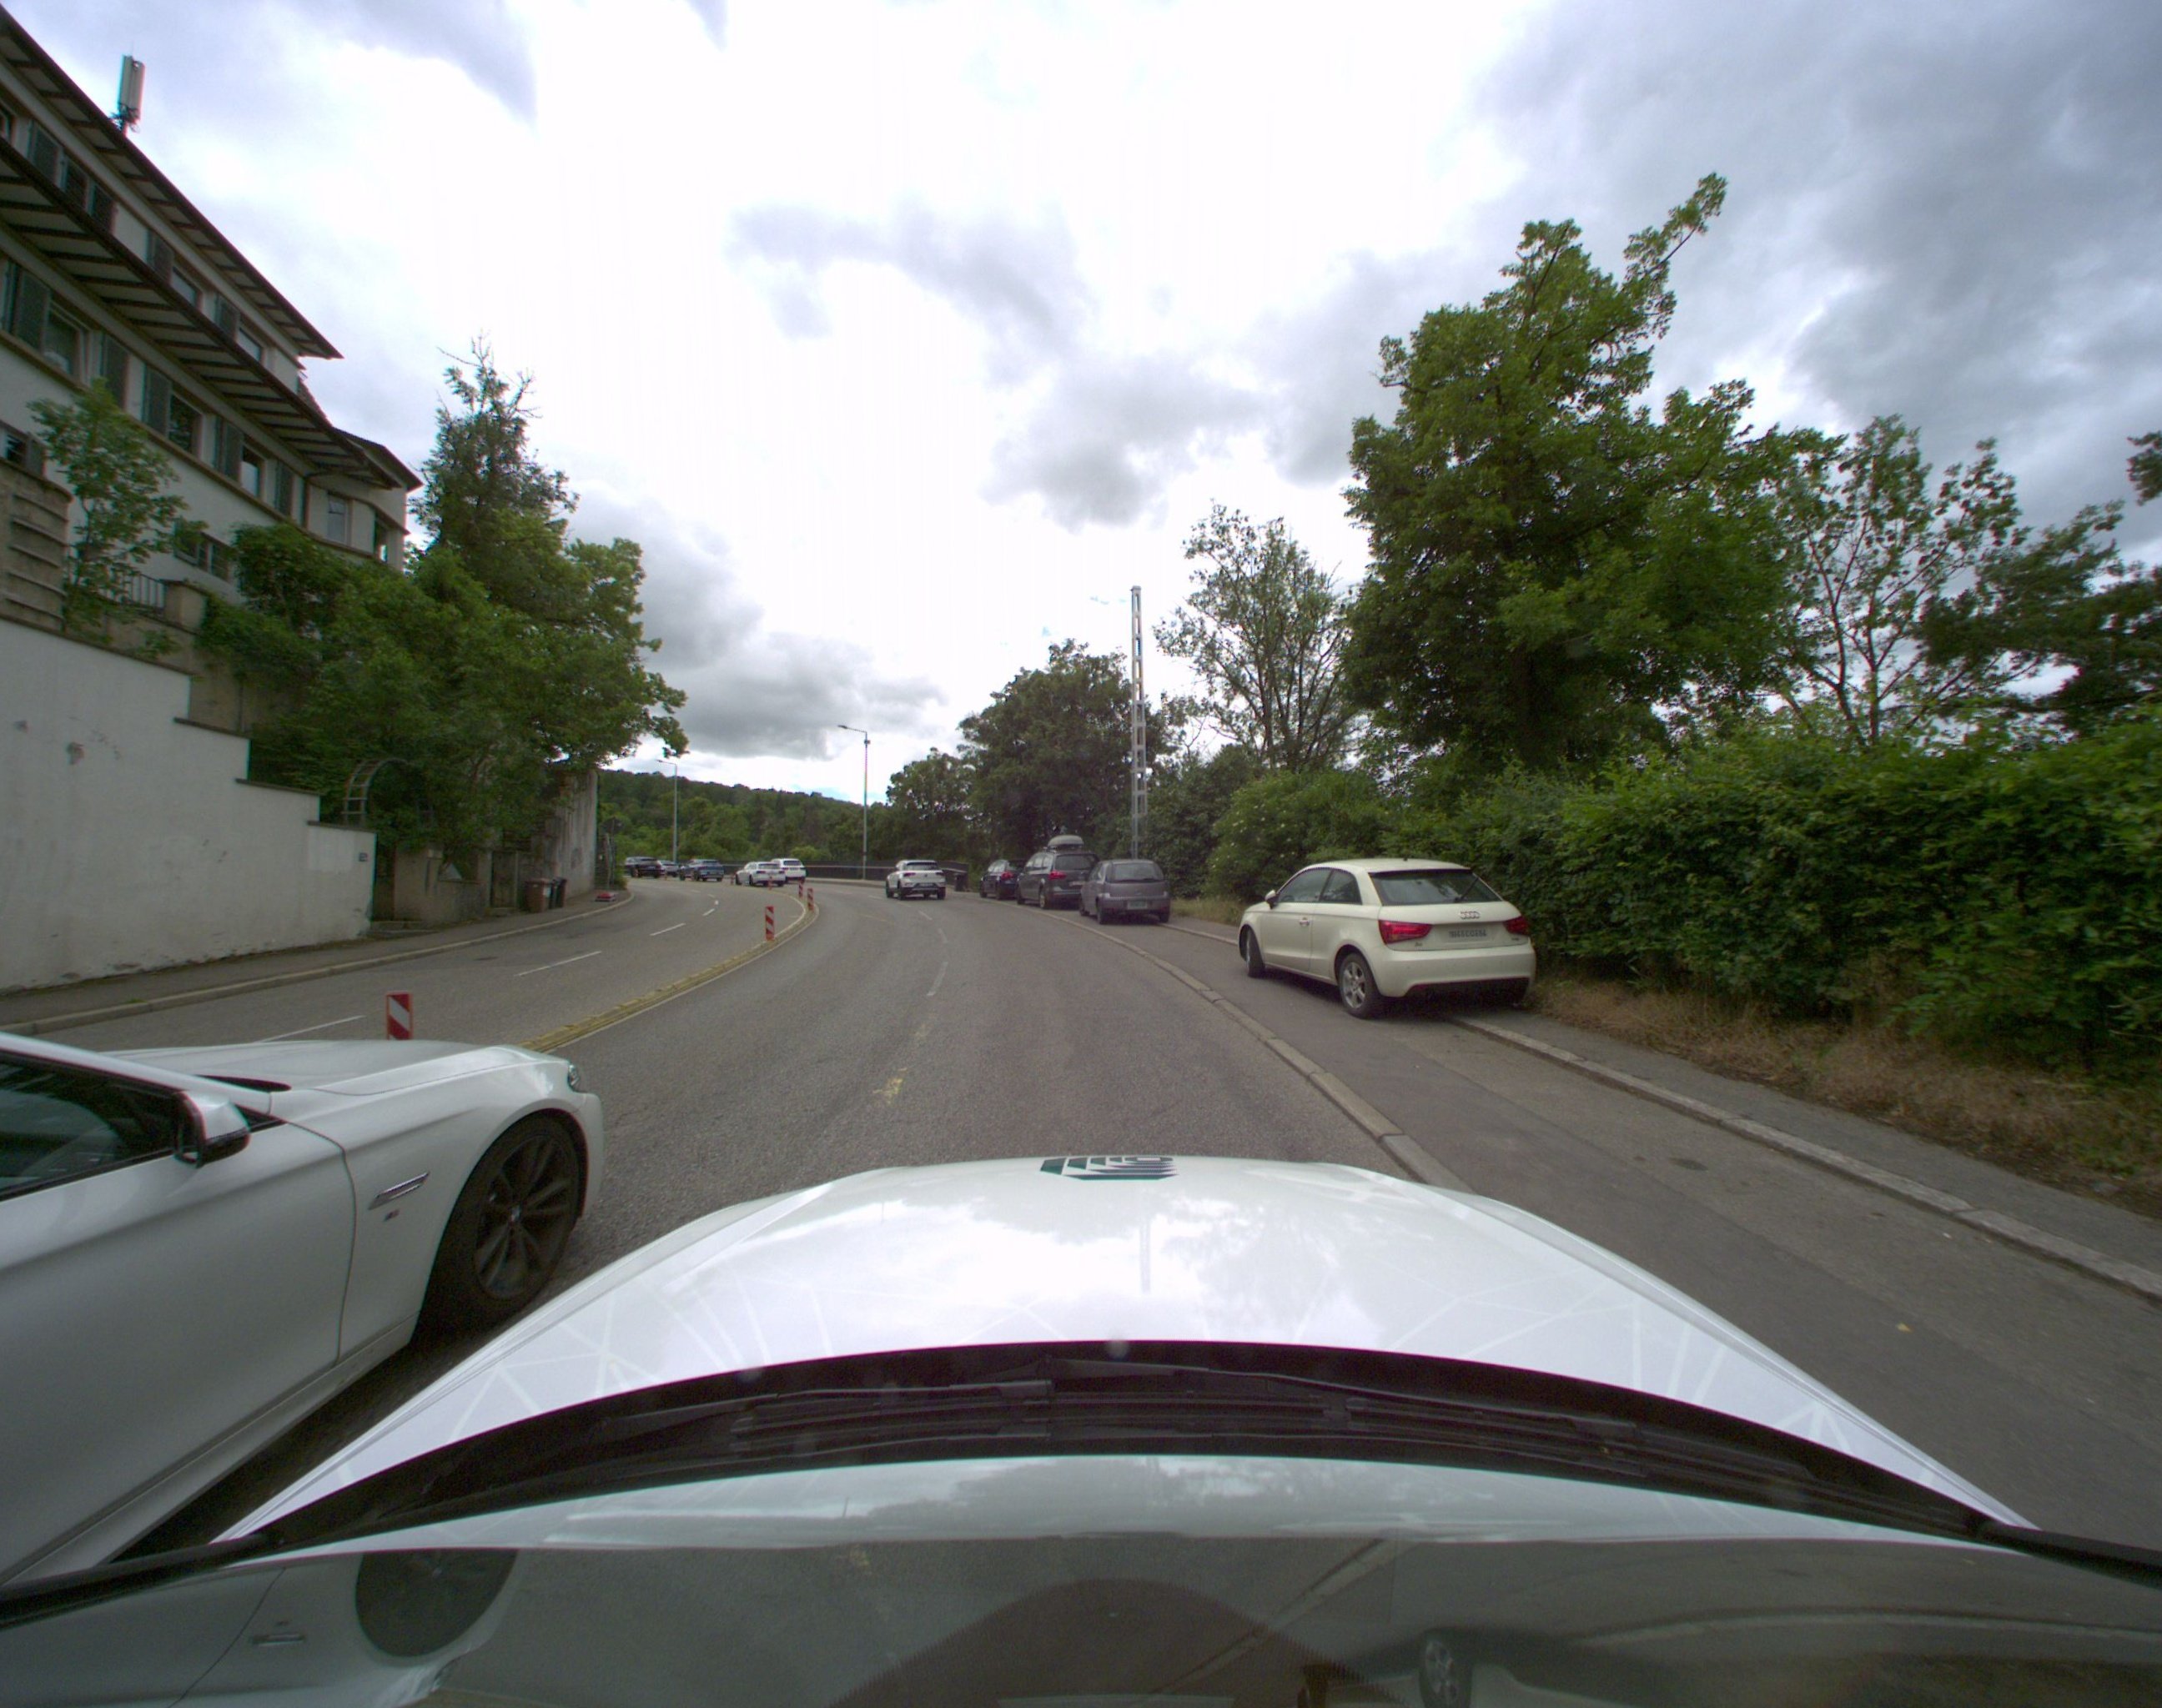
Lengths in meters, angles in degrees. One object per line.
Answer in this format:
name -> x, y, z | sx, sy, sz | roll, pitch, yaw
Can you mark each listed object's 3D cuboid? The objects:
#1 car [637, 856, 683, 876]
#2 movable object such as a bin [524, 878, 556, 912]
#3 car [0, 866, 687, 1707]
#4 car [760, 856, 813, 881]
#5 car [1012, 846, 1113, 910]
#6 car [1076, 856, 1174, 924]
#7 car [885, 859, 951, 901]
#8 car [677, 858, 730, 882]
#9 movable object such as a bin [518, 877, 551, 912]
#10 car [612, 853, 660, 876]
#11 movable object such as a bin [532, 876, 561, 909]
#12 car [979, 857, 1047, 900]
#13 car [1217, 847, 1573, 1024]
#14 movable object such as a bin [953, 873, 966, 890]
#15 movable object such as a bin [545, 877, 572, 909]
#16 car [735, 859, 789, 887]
car -> -35.181, 1.002, 68.091 | 3.491, 1.525, 1.710 | 1, -1, 29
movable object such as a bin -> -15.476, 1.161, 23.309 | 0.609, 0.949, 0.577 | 2, -1, -20
car -> -2.815, 0.776, 1.222 | 1.840, 1.467, 4.881 | 2, -1, 2
car -> -19.455, 0.941, 53.667 | 2.010, 1.586, 3.953 | 2, -1, -40
car -> -0.689, 0.700, 25.012 | 1.804, 1.772, 4.577 | 1, -1, -19
car -> 0.945, 0.799, 19.631 | 1.640, 1.464, 3.988 | 0, -1, -8
car -> -6.615, 0.984, 32.734 | 1.875, 1.536, 3.775 | -1, 0, -22
car -> -26.472, 1.098, 57.072 | 3.960, 1.541, 2.011 | 0, -1, 44
movable object such as a bin -> -15.283, 1.140, 22.778 | 0.609, 0.949, 0.552 | 2, -1, -20
car -> -34.858, 0.843, 63.771 | 3.948, 1.690, 1.833 | 1, -1, 37
movable object such as a bin -> -15.742, 1.122, 23.988 | 0.544, 0.949, 0.563 | 2, -1, -20
car -> -2.648, 0.888, 30.713 | 1.664, 1.487, 4.009 | 1, -1, -18
car -> 3.064, 0.704, 8.952 | 1.778, 1.418, 3.985 | -2, 0, -11
movable object such as a bin -> -6.234, 1.414, 41.806 | 0.523, 0.881, 0.527 | 2, -1, -29
movable object such as a bin -> -15.816, 1.181, 24.669 | 0.544, 0.949, 0.563 | 2, -1, -20
car -> -18.828, 1.111, 47.992 | 1.921, 1.574, 3.956 | 2, -1, -37
